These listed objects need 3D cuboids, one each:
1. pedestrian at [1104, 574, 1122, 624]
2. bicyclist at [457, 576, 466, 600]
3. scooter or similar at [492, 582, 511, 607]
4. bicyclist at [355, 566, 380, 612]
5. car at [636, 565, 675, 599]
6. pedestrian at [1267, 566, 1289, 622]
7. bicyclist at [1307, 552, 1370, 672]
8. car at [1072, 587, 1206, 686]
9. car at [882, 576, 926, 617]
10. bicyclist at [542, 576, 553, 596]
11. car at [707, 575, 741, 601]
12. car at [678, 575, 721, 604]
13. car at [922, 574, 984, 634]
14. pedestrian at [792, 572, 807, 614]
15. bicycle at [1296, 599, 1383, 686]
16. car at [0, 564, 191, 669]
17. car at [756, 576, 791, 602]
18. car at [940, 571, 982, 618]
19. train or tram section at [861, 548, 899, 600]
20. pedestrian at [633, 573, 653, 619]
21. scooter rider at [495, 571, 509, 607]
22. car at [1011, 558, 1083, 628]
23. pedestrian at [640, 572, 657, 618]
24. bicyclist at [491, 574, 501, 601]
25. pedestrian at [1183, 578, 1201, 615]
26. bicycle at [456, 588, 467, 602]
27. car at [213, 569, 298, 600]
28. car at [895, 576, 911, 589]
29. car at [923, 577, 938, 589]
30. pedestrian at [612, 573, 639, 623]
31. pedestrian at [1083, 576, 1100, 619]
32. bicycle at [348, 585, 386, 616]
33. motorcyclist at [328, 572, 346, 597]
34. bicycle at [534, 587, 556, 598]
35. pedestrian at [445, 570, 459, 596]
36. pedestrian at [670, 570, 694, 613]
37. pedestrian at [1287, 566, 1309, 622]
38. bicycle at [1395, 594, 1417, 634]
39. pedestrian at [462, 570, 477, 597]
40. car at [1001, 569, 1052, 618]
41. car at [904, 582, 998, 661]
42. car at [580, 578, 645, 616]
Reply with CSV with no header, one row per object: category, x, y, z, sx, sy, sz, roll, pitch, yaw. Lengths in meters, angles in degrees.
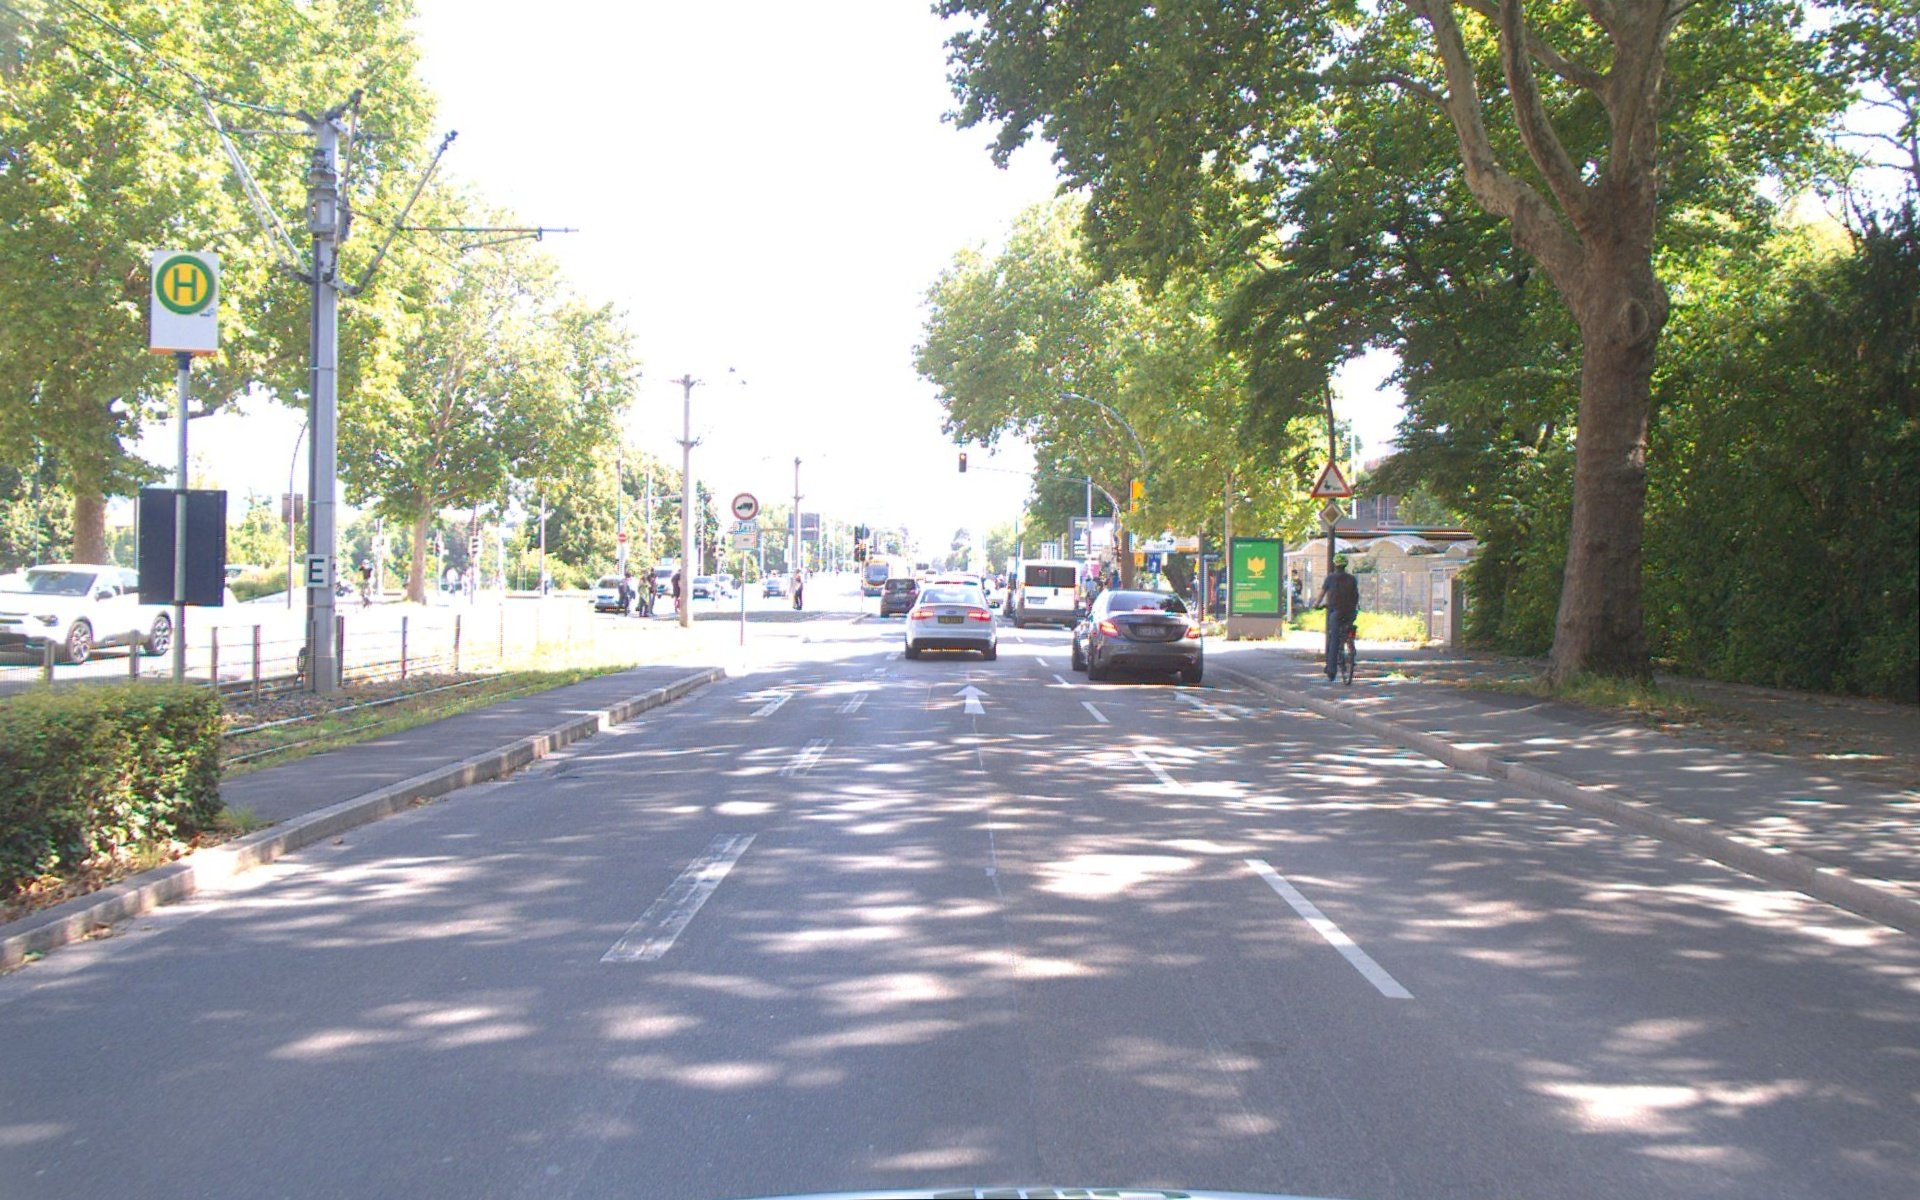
pedestrian,6.167,-0.035,66.556,0.622,1.980,0.719,1,0,0
bicyclist,-28.056,-0.697,93.127,0.378,1.334,0.465,1,0,-7
scooter or similar,-21.631,-0.266,78.041,0.536,1.132,1.248,1,0,0
bicyclist,-21.523,-0.398,60.105,0.563,1.632,0.838,1,0,0
car,-22.294,-1.351,121.161,2.071,2.424,4.000,1,1,0
pedestrian,10.985,-0.221,57.148,0.601,1.929,0.694,0,0,-3
bicyclist,5.458,0.167,23.873,0.621,1.677,0.979,-2,0,-1
car,2.849,0.538,27.077,1.746,1.445,4.000,1,1,0
car,-2.380,-0.169,70.619,1.694,1.659,4.000,1,1,0
bicyclist,-28.180,-0.956,113.036,0.464,1.314,0.496,1,0,29
car,-15.856,-0.822,111.255,1.727,1.637,3.860,1,1,0
car,-15.412,-0.625,97.897,1.832,1.637,4.000,1,1,0
car,-0.184,0.092,47.262,1.694,1.633,3.885,1,1,0
pedestrian,-7.529,-0.338,77.558,0.611,1.951,0.690,1,0,0
bicycle,5.460,0.588,23.928,0.700,1.168,2.178,-2,0,-1
car,-14.629,0.220,27.366,1.773,1.590,4.304,1,1,0
car,-13.222,-0.797,117.229,1.952,1.764,4.000,1,1,0
car,0.048,-0.249,70.733,1.694,1.935,4.000,1,1,0
train or tram section,-6.468,-2.094,133.966,2.563,4.085,7.749,1,1,0
pedestrian,-11.659,-0.136,60.795,0.580,1.675,0.554,1,0,0
scooter rider,-21.616,-0.531,78.047,0.496,1.660,0.566,1,0,0
car,2.905,-0.249,55.941,2.184,2.250,4.162,1,1,0
pedestrian,-11.589,-0.189,61.538,0.482,1.708,0.643,1,0,0
bicyclist,-25.565,-0.693,91.144,0.472,1.441,0.589,1,0,-17
pedestrian,11.508,-0.195,82.144,0.761,1.819,0.764,1,0,17
bicycle,-28.066,-0.284,93.185,0.412,0.761,1.144,1,1,-8
car,-37.526,-0.830,88.153,3.768,1.576,1.769,1,0,0
car,-7.606,-2.330,221.207,1.832,1.637,4.001,1,1,2
car,-3.954,-2.288,221.309,1.832,1.637,4.001,1,1,2
pedestrian,-11.155,-0.054,55.178,0.747,1.651,0.590,1,0,-25
pedestrian,5.384,-0.118,67.949,0.590,1.724,0.953,-1,0,0
bicycle,-21.520,0.003,60.076,0.653,1.113,1.884,1,1,1
motorcyclist,-33.861,-0.848,89.960,0.737,1.337,0.604,1,0,0
bicycle,-28.308,-0.483,112.836,0.482,0.744,1.619,1,1,28
pedestrian,-29.860,-0.999,97.142,0.610,1.569,0.644,1,0,-1
pedestrian,-11.361,-0.350,67.643,0.758,1.764,0.755,1,0,8
pedestrian,11.712,-0.225,57.295,0.601,1.929,0.597,0,0,-3
bicycle,13.962,0.431,51.812,0.381,1.201,1.173,1,0,0
pedestrian,-28.830,-0.994,97.196,0.610,1.569,0.782,1,0,-1
car,2.833,-0.311,71.704,2.029,2.034,4.058,1,1,0
car,-0.163,0.381,32.807,1.748,1.445,3.885,1,1,0
car,-14.714,-0.137,70.197,1.760,1.514,4.385,1,1,0
